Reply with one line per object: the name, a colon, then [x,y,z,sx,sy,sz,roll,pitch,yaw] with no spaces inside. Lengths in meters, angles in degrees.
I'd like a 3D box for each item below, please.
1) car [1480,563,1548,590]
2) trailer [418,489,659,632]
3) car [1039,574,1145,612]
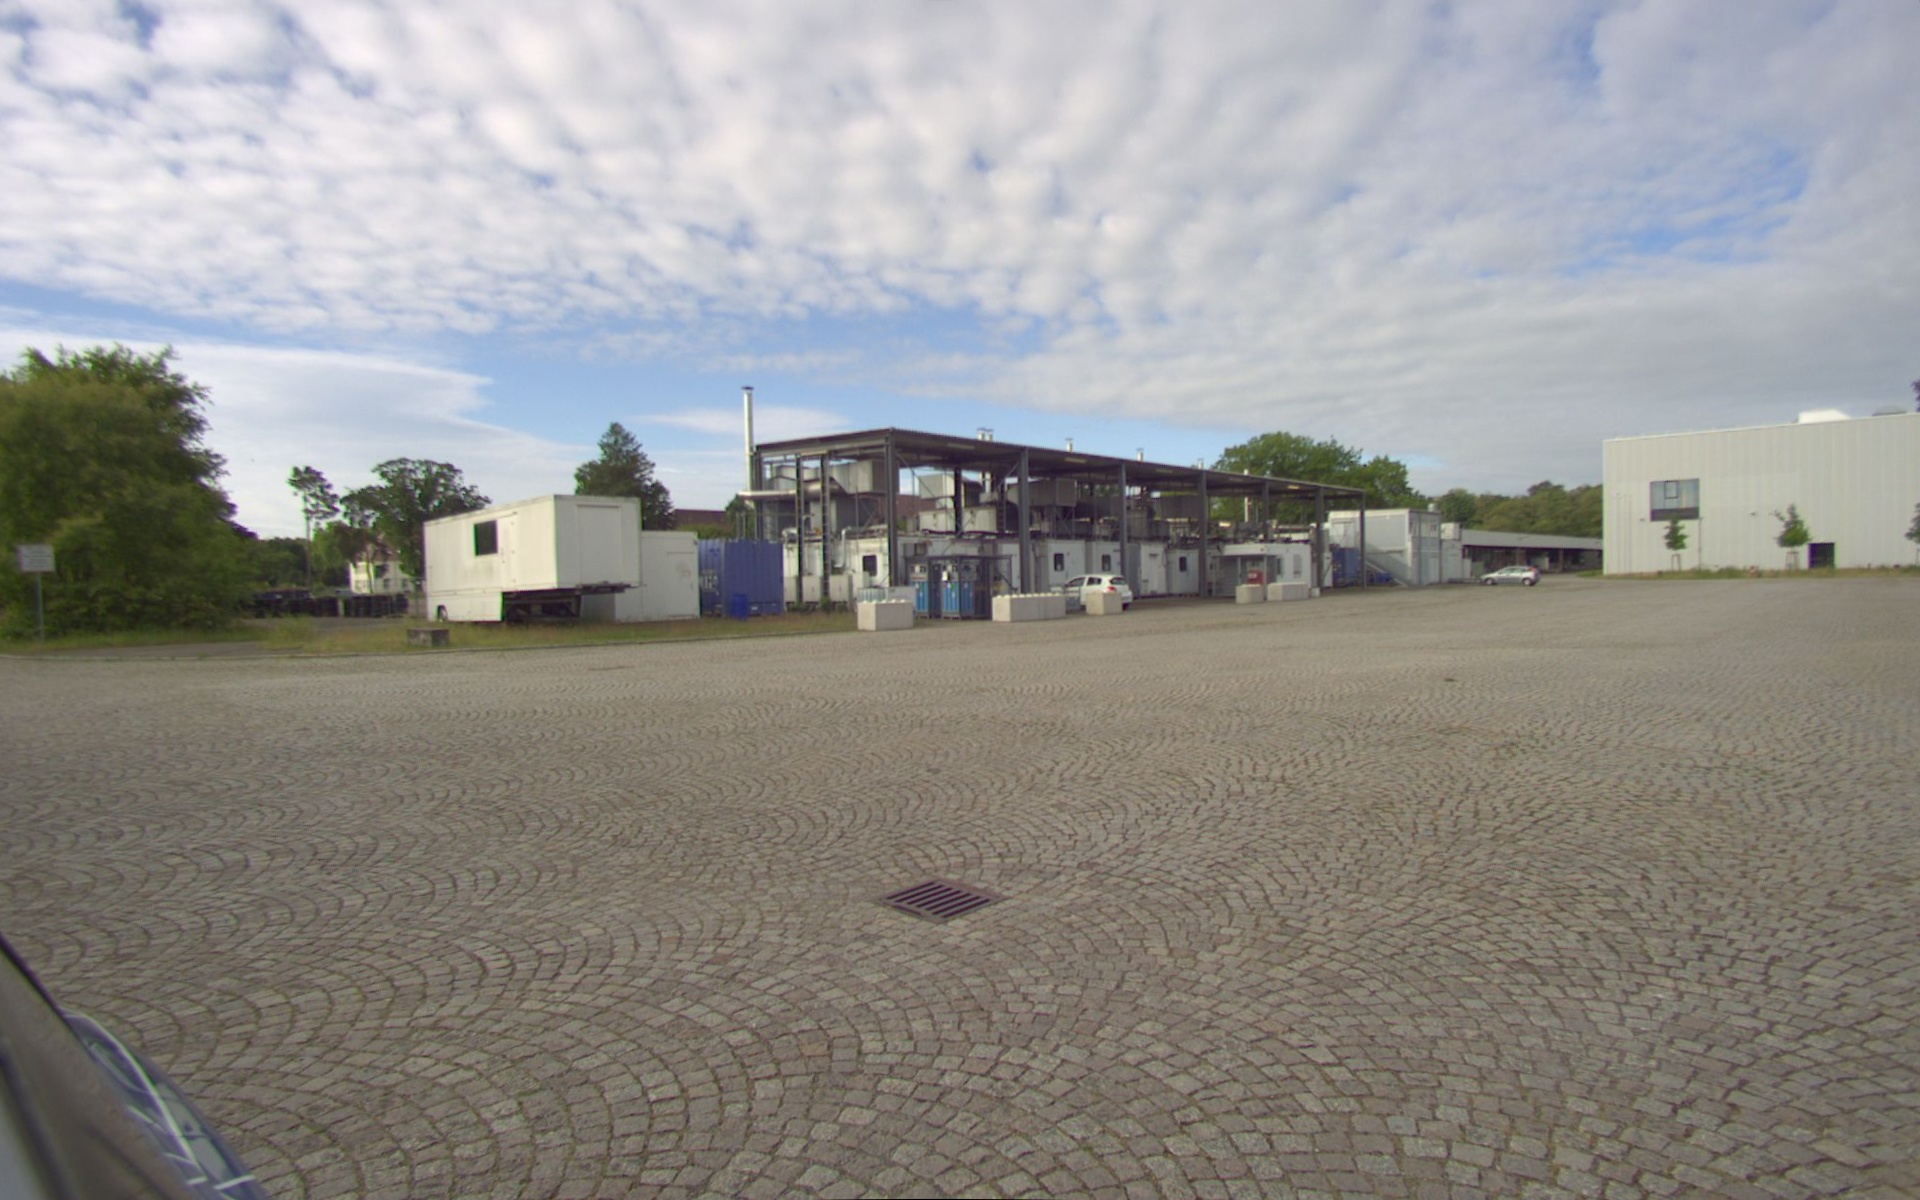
car: [42.650,-1.816,77.975,4.305,1.961,1.974,-1,1,40]
trailer: [-13.224,-1.016,30.959,10.782,3.689,2.836,-1,1,45]
car: [5.497,-0.278,42.323,3.996,1.484,1.909,0,0,39]
